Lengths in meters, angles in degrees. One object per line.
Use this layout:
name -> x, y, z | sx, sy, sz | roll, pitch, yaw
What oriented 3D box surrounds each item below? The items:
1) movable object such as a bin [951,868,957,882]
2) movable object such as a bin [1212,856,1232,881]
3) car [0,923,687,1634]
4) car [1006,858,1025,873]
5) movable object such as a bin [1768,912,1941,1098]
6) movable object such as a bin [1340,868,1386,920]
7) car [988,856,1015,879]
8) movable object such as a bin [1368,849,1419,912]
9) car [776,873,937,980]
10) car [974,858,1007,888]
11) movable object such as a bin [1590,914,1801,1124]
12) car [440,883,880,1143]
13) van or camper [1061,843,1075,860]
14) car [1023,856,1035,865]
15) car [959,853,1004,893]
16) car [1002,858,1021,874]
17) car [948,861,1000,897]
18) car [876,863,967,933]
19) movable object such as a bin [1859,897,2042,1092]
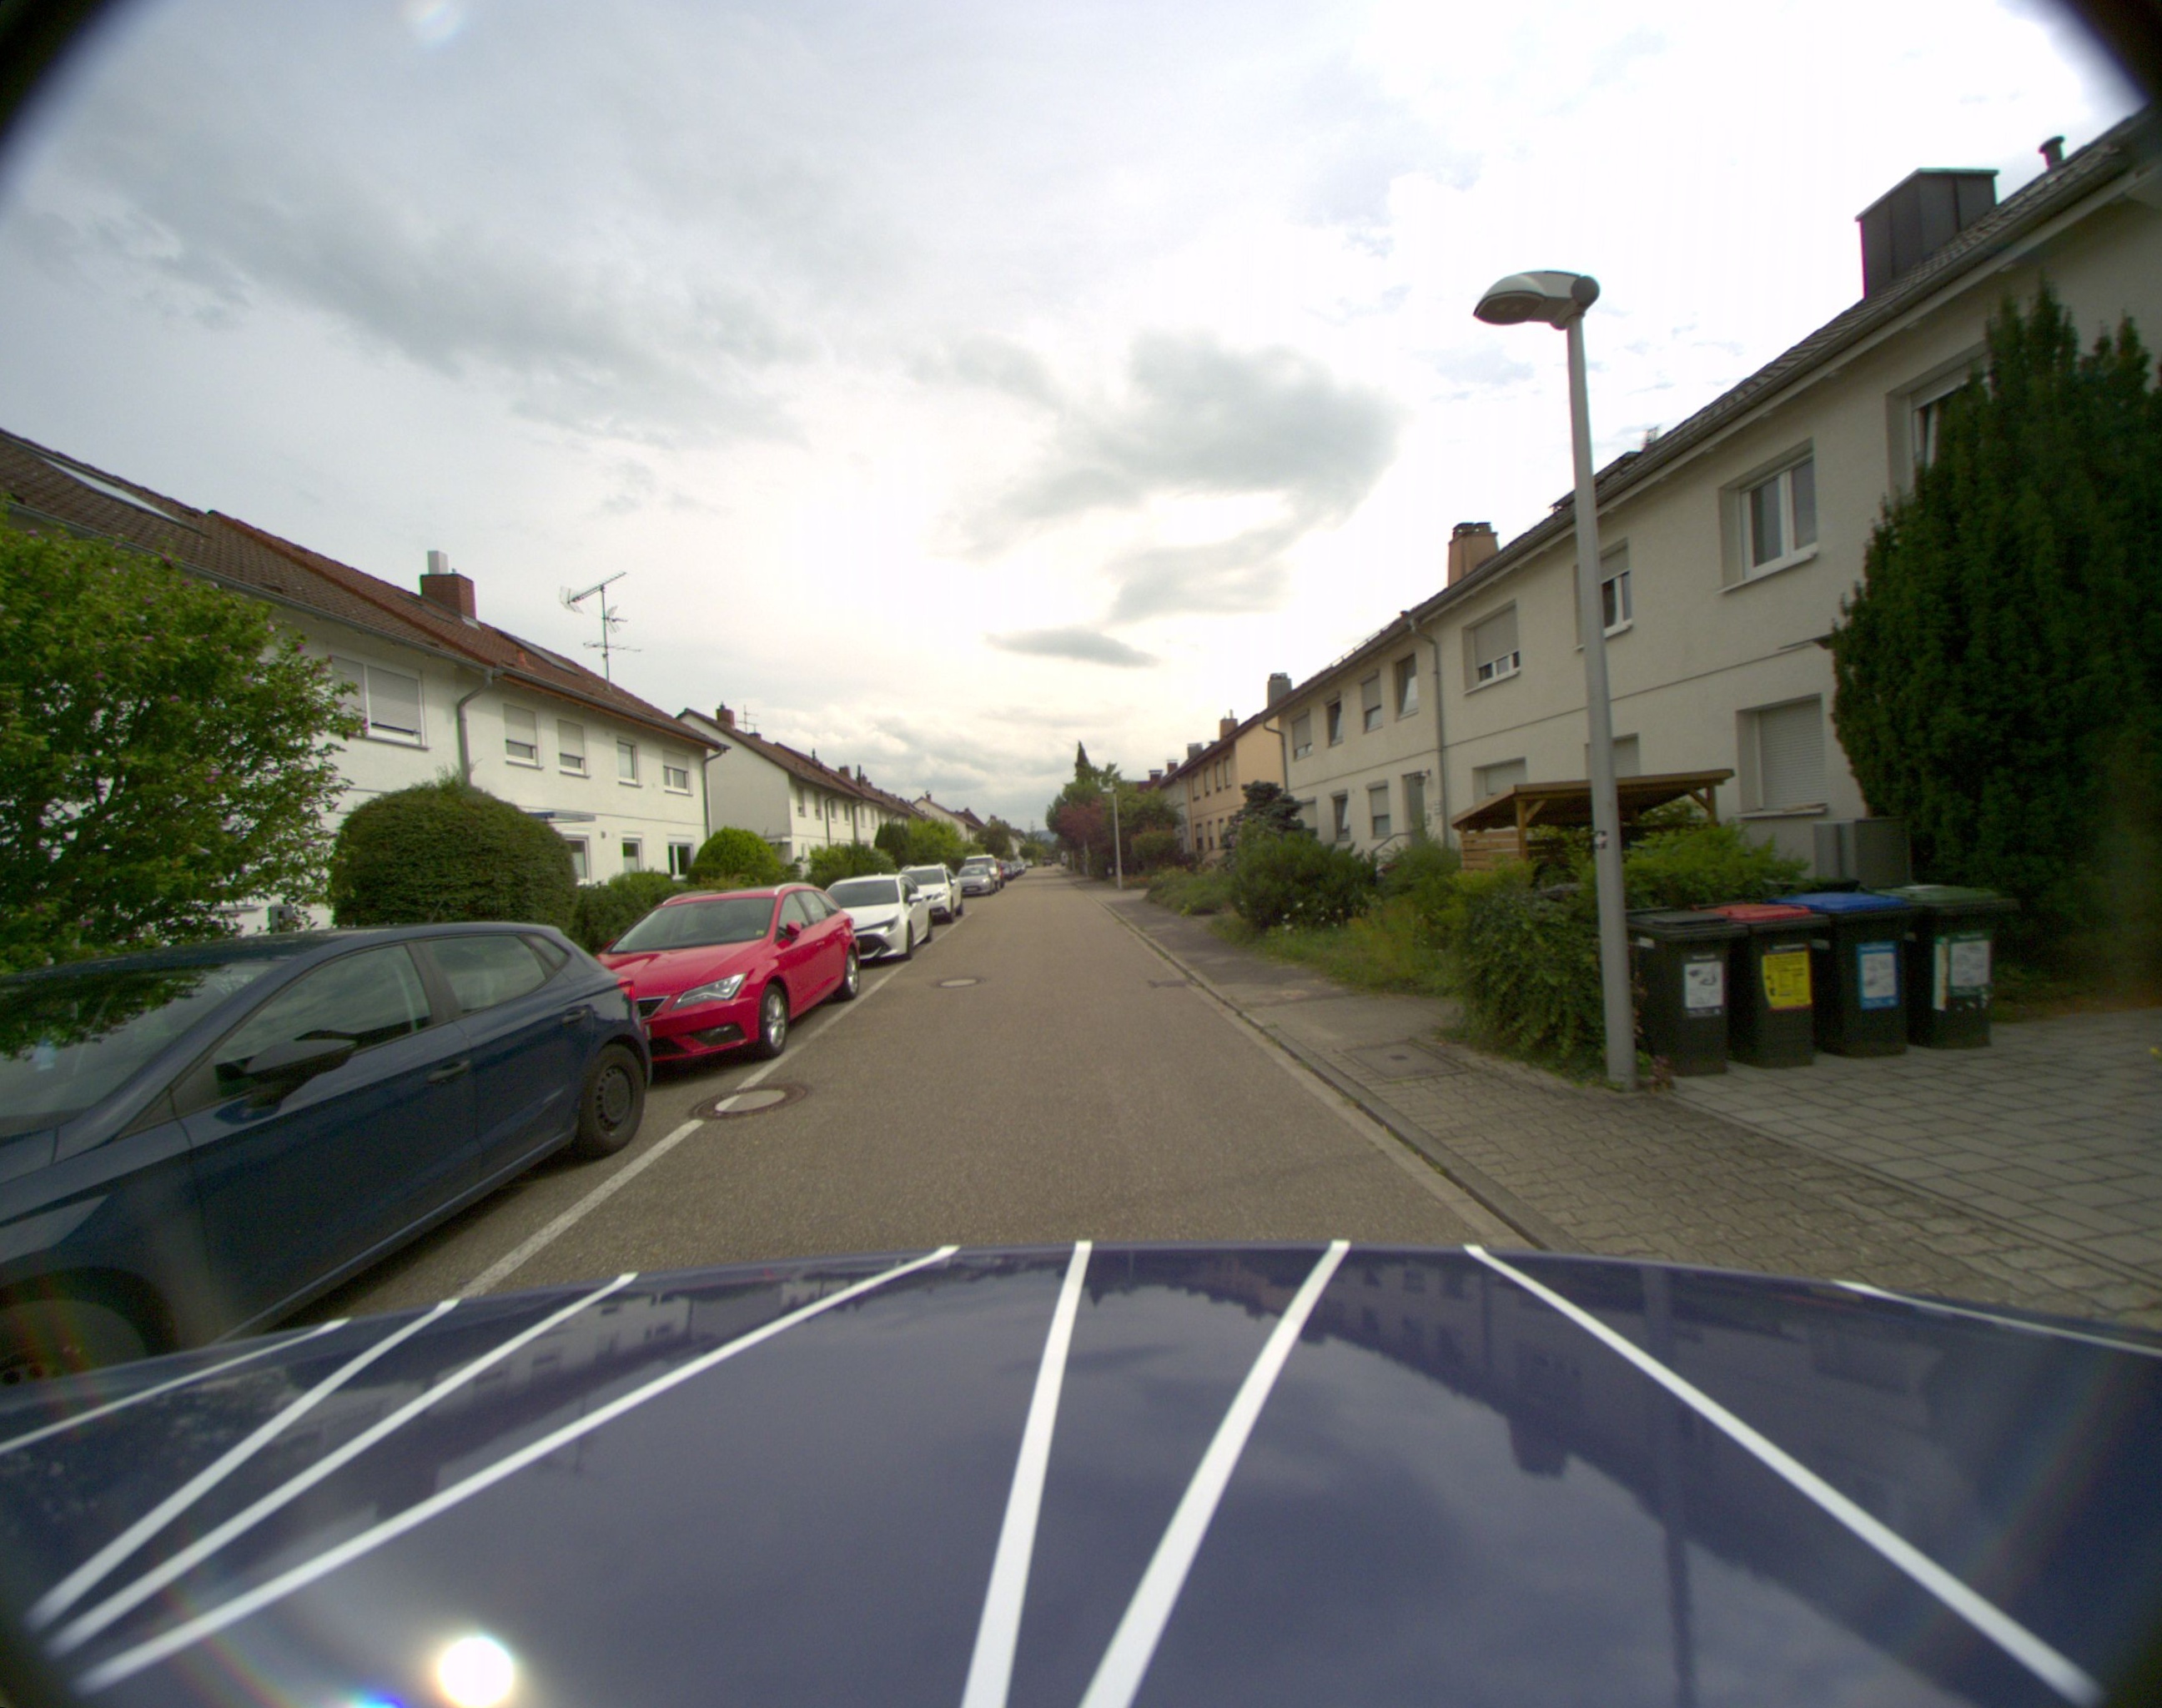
movable object such as a bin -> -9.467, 1.579, 56.620 | 0.405, 1.027, 0.790 | -4, 0, -11
movable object such as a bin -> 5.878, 0.592, 31.704 | 0.654, 1.015, 0.632 | -2, 1, -3
car -> -3.437, 1.163, 2.819 | 1.777, 1.348, 4.264 | -3, 0, -2
car -> -6.874, 1.184, 79.911 | 1.754, 1.458, 4.646 | -4, 0, -3
movable object such as a bin -> 4.477, 0.851, 4.420 | 0.468, 0.950, 0.467 | -5, 1, -2
movable object such as a bin -> 5.744, 0.811, 15.490 | 0.677, 1.001, 0.598 | -2, 0, -2
car -> -6.222, 1.043, 59.960 | 1.873, 1.644, 4.462 | -3, 0, -5
movable object such as a bin -> 6.463, 0.534, 15.737 | 0.698, 1.232, 0.734 | -2, 0, -2
car -> -3.777, 1.135, 13.661 | 1.843, 1.404, 4.634 | -3, 0, -5
car -> -5.426, 1.087, 45.815 | 1.816, 1.641, 4.408 | -3, 0, -6
movable object such as a bin -> 3.529, 0.913, 4.416 | 0.603, 1.021, 0.665 | -5, 1, -2
car -> -3.528, 1.184, 7.653 | 1.778, 1.427, 4.824 | -5, 0, -2
van or camper -> -2.333, -0.395, 134.742 | 2.347, 2.719, 5.746 | -4, 0, -2
car -> -9.979, 1.208, 144.958 | 1.999, 1.589, 3.998 | -4, 0, -6
car -> -5.278, 0.975, 40.817 | 2.026, 1.936, 4.745 | -3, 0, -5
car -> -6.779, 1.194, 74.254 | 1.738, 1.419, 4.124 | -4, 0, -5
car -> -4.974, 1.132, 35.724 | 1.906, 1.451, 4.128 | -3, 0, -2
car -> -4.206, 1.111, 20.653 | 1.718, 1.535, 3.972 | -5, 0, -3
movable object such as a bin -> 4.979, 0.779, 4.375 | 0.448, 0.998, 0.467 | -5, 1, -2
